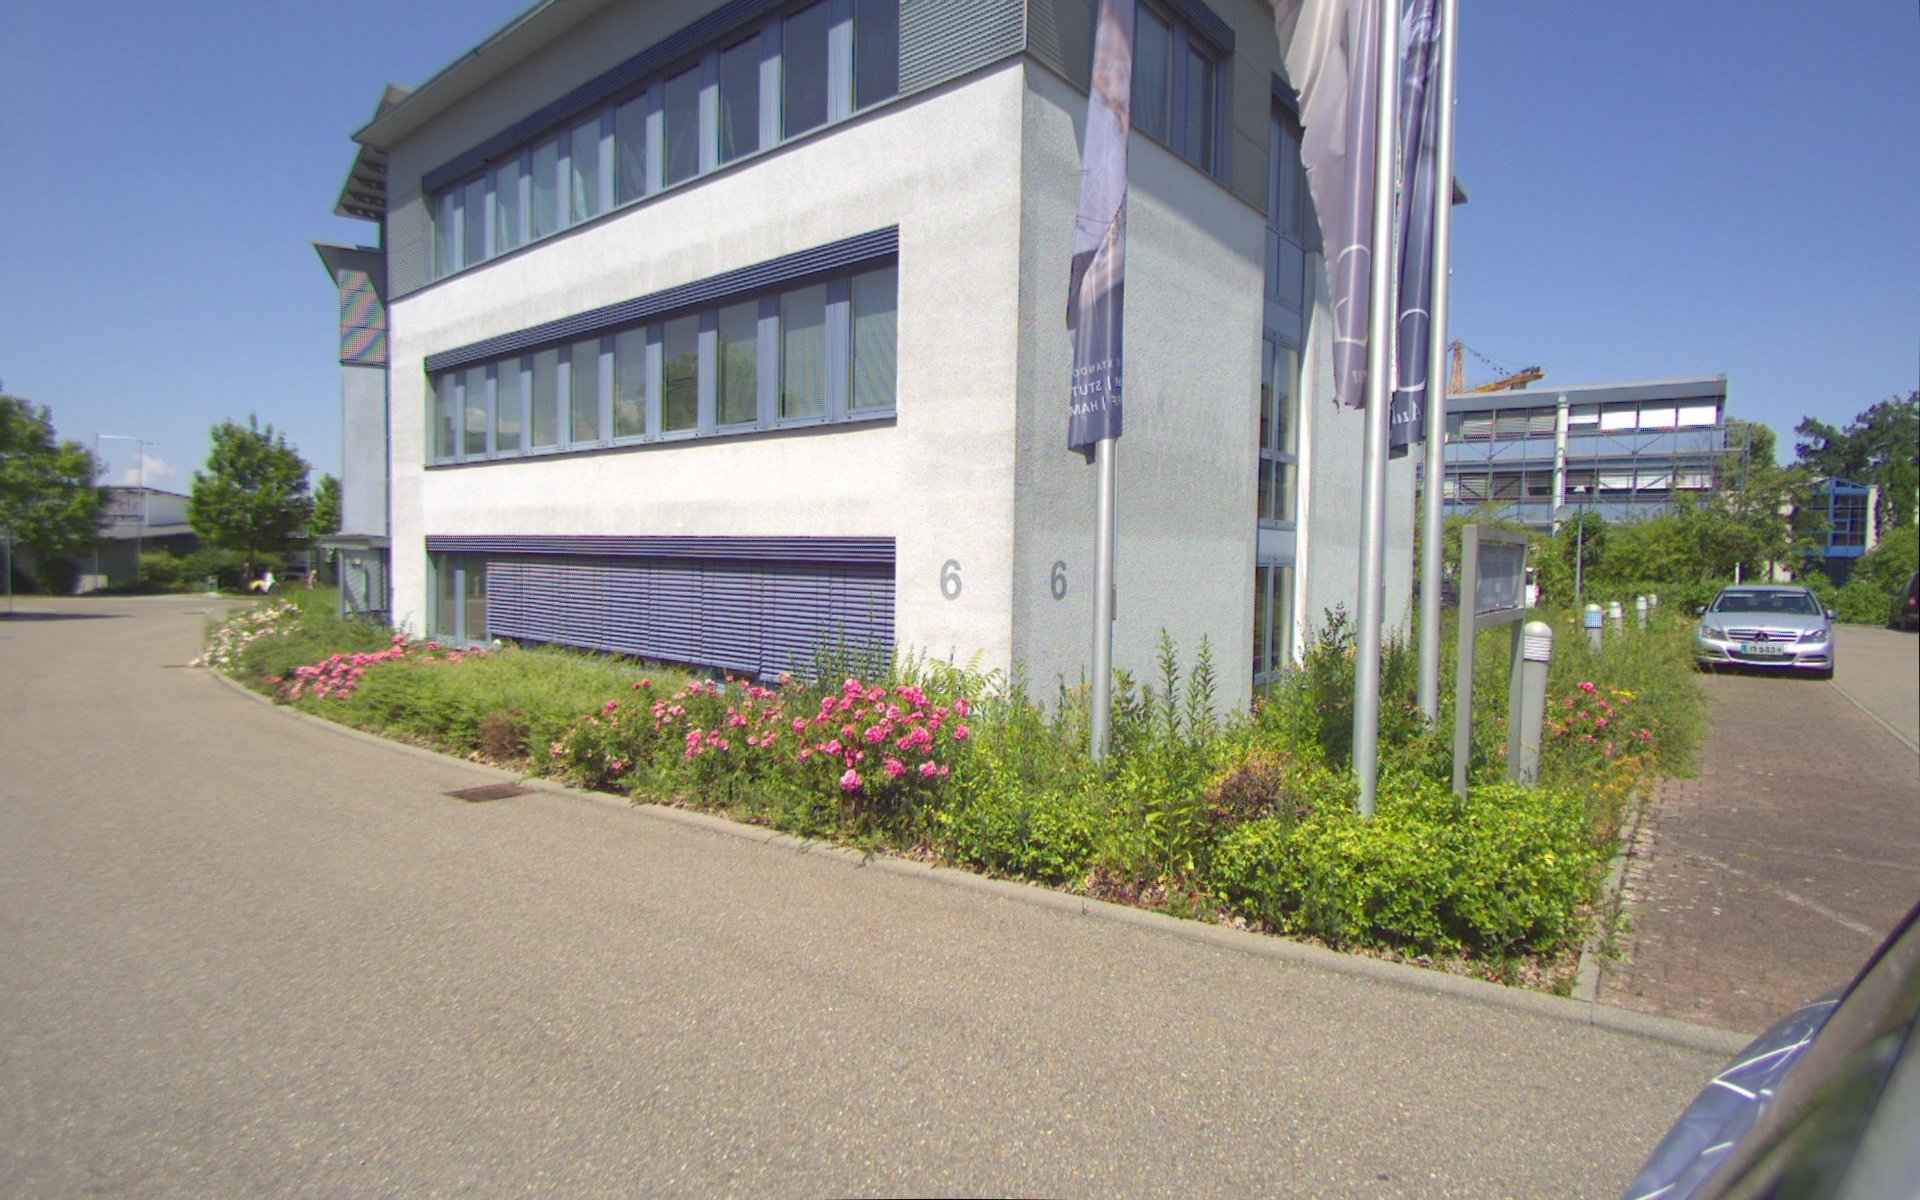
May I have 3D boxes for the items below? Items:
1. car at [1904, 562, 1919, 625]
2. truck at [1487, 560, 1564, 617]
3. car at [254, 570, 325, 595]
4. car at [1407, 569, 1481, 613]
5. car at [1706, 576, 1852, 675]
[{"bbox_3d":[29.584,-0.227,30.174,1.780,1.826,3.945,1,2,39],"label":"car"},{"bbox_3d":[20.323,-0.460,36.303,1.988,1.917,3.950,1,2,35],"label":"truck"},{"bbox_3d":[-39.316,-1.032,59.397,3.155,1.460,1.589,0,1,1],"label":"car"},{"bbox_3d":[18.491,-0.402,38.581,1.779,1.565,3.947,1,2,37],"label":"car"},{"bbox_3d":[13.684,0.333,16.895,1.705,1.408,3.756,2,3,40],"label":"car"}]
